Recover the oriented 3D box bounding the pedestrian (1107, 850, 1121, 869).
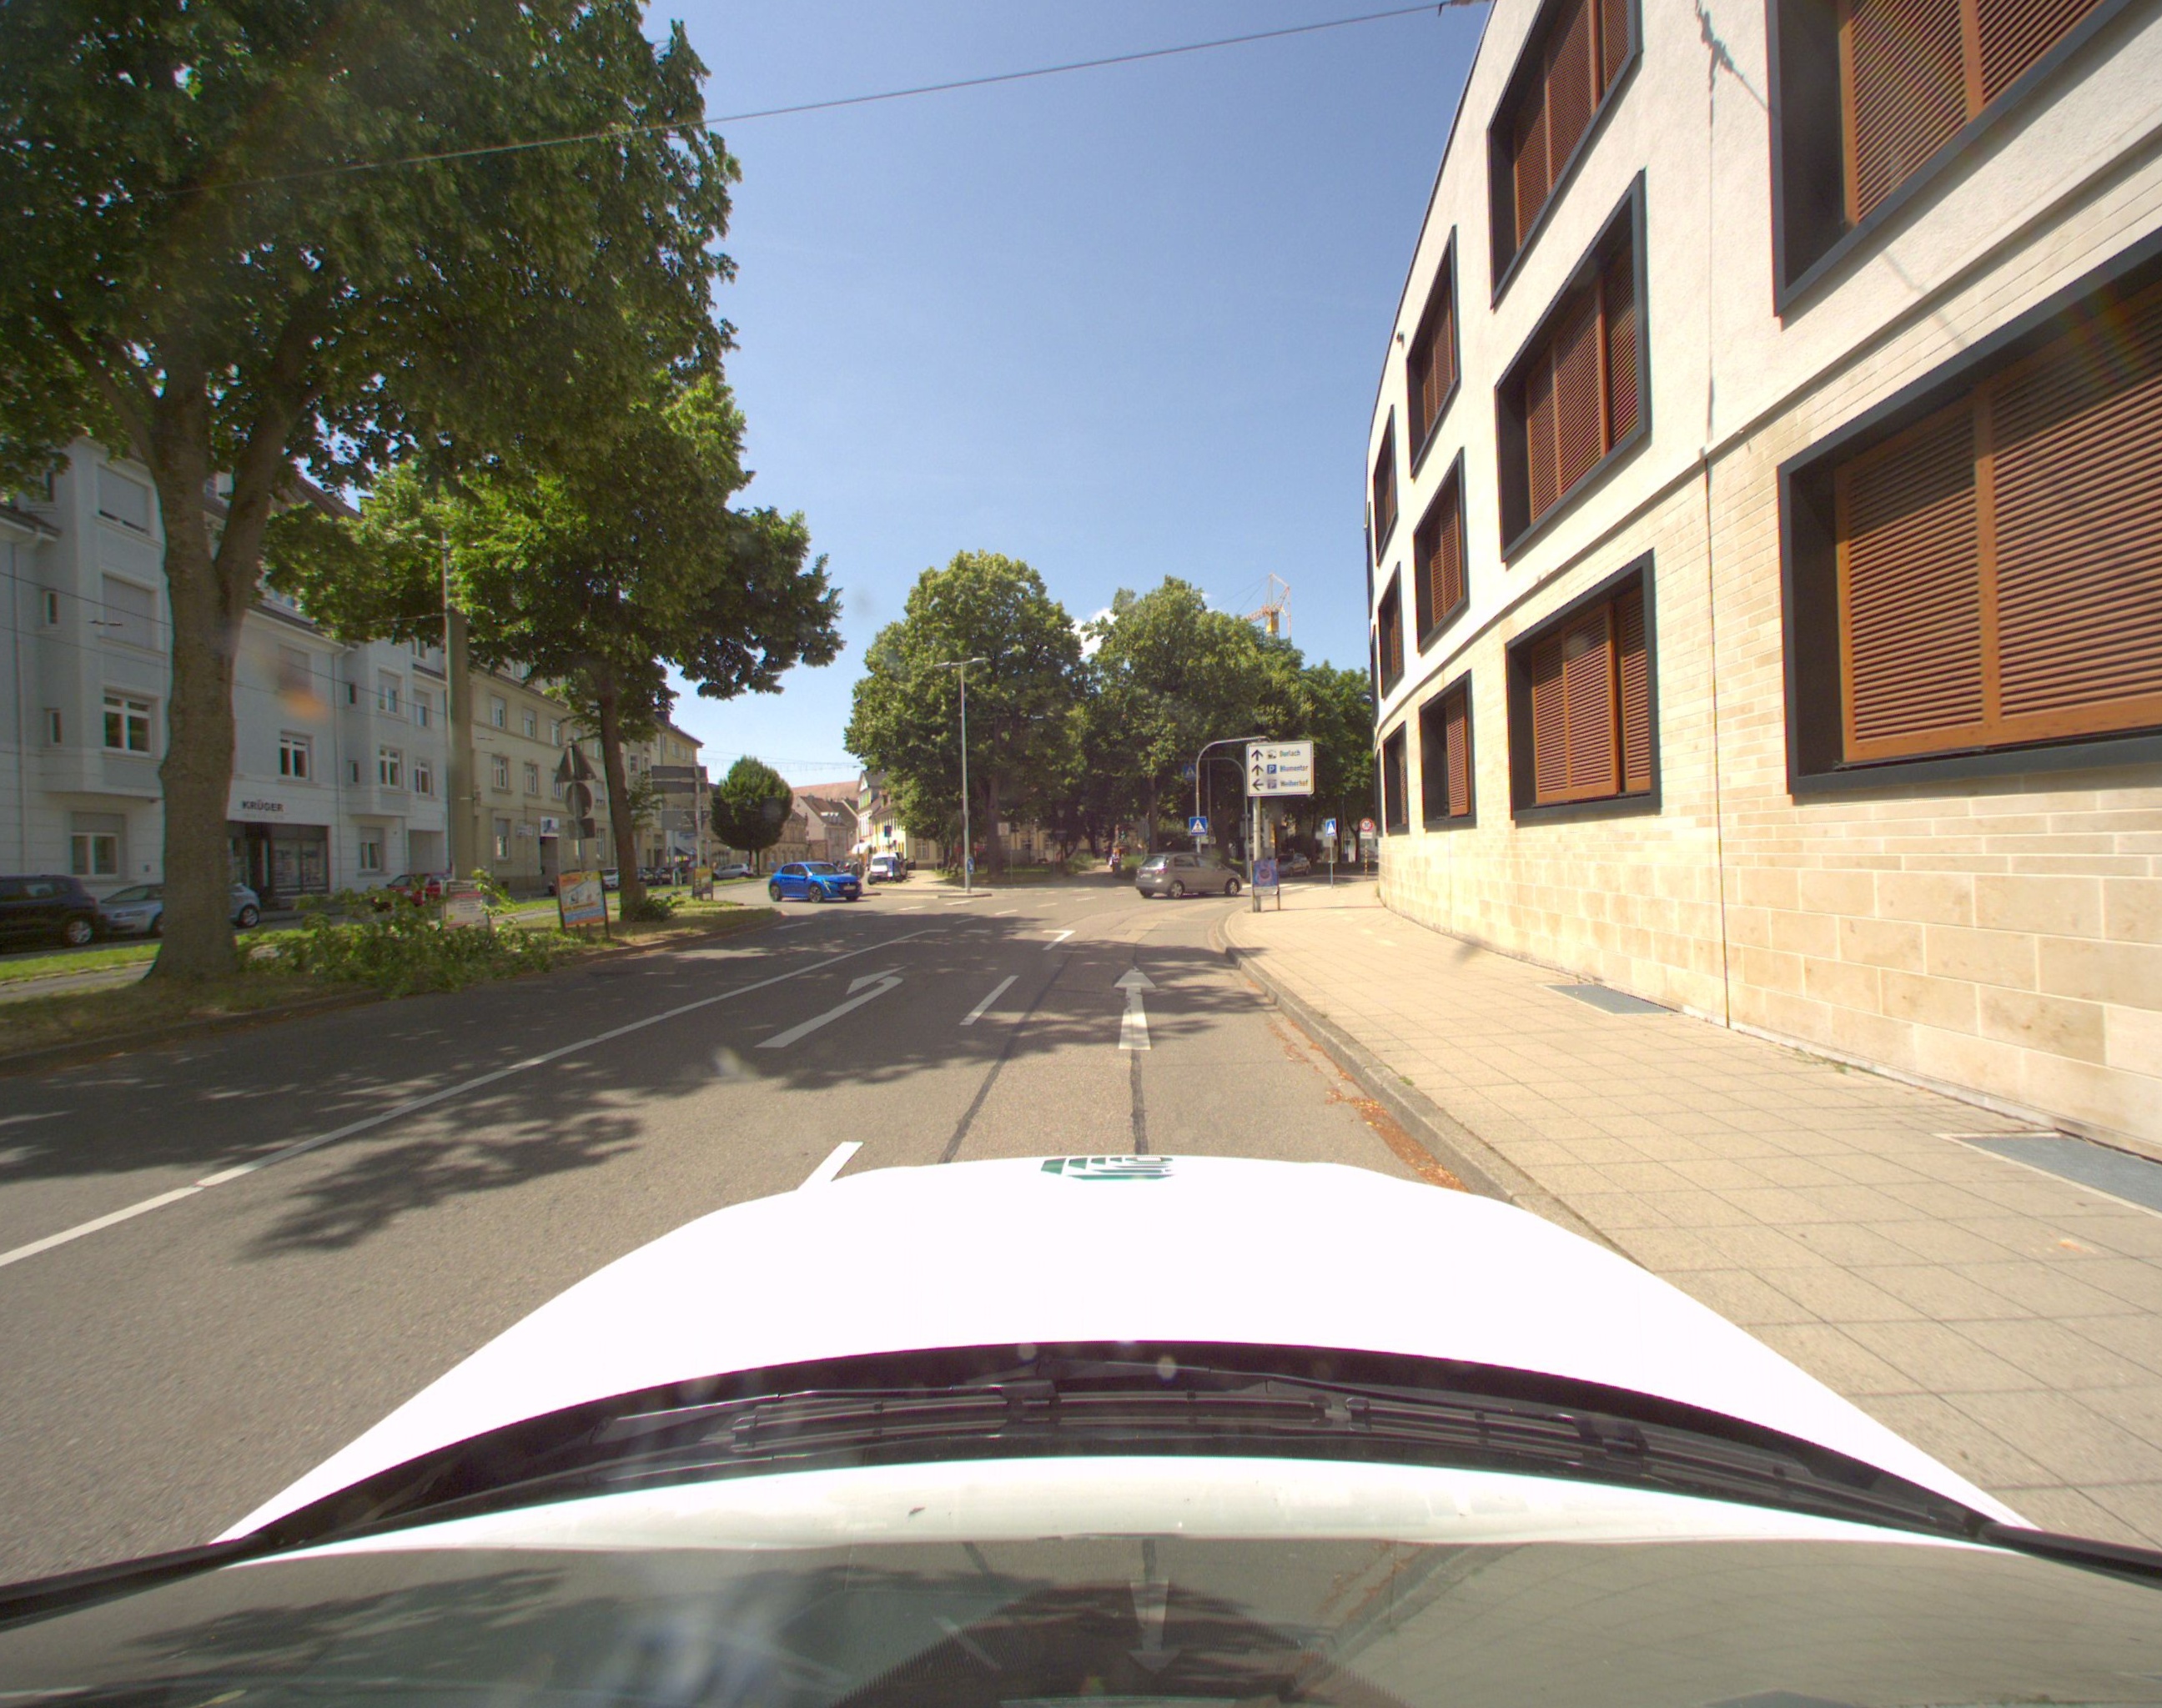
[{"bbox_3d":[2.267,0.354,55.515,0.902,1.252,1.149,-2,1,4],"label":"pedestrian"}]

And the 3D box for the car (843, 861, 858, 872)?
[{"bbox_3d":[-31.272,1.671,110.397,1.866,1.486,3.975,-2,0,-18],"label":"car"}]

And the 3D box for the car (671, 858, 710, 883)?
[{"bbox_3d":[-33.663,1.389,70.298,1.854,1.911,4.752,-4,1,-12],"label":"car"}]

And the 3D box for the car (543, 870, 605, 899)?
[{"bbox_3d":[-28.835,1.704,46.480,1.687,1.360,3.842,-4,1,-12],"label":"car"}]

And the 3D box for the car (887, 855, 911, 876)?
[{"bbox_3d":[-15.648,0.986,70.190,1.783,1.693,4.185,-2,0,-10],"label":"car"}]

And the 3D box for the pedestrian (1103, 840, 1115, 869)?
[{"bbox_3d":[1.929,0.027,56.438,0.744,1.910,0.685,-2,1,3],"label":"pedestrian"}]

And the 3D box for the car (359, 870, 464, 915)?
[{"bbox_3d":[-25.863,1.436,31.607,1.572,1.451,3.611,-4,1,-12],"label":"car"}]

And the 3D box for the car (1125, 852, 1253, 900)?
[{"bbox_3d":[3.828,0.728,28.758,4.259,1.534,1.890,-1,0,-33],"label":"car"}]

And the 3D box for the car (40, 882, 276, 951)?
[{"bbox_3d":[-23.737,1.532,21.224,1.808,1.356,4.233,-4,1,-12],"label":"car"}]

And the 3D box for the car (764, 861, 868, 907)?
[{"bbox_3d":[-9.730,1.055,29.771,3.949,1.492,1.827,-1,1,41],"label":"car"}]

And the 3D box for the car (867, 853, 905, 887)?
[{"bbox_3d":[-11.379,0.915,47.794,1.995,1.826,4.404,-2,0,-12],"label":"car"}]

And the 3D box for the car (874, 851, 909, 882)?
[{"bbox_3d":[-12.988,0.810,56.112,2.050,2.002,5.230,-2,0,-10],"label":"car"}]

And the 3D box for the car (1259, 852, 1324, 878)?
[{"bbox_3d":[13.177,0.695,50.897,4.431,1.488,1.722,-1,0,-41],"label":"car"}]

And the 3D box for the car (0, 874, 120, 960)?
[{"bbox_3d":[-22.736,1.358,16.597,1.838,1.685,4.126,-4,1,-12],"label":"car"}]

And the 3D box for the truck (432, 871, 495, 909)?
[{"bbox_3d":[-26.947,1.535,35.626,1.127,1.494,2.583,-4,1,-13],"label":"truck"}]

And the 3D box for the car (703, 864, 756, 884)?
[{"bbox_3d":[-32.916,1.883,76.382,4.212,1.505,1.993,-4,1,-16],"label":"car"}]

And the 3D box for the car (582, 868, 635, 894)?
[{"bbox_3d":[-29.975,1.670,51.804,1.687,1.390,3.842,-4,1,-12],"label":"car"}]
